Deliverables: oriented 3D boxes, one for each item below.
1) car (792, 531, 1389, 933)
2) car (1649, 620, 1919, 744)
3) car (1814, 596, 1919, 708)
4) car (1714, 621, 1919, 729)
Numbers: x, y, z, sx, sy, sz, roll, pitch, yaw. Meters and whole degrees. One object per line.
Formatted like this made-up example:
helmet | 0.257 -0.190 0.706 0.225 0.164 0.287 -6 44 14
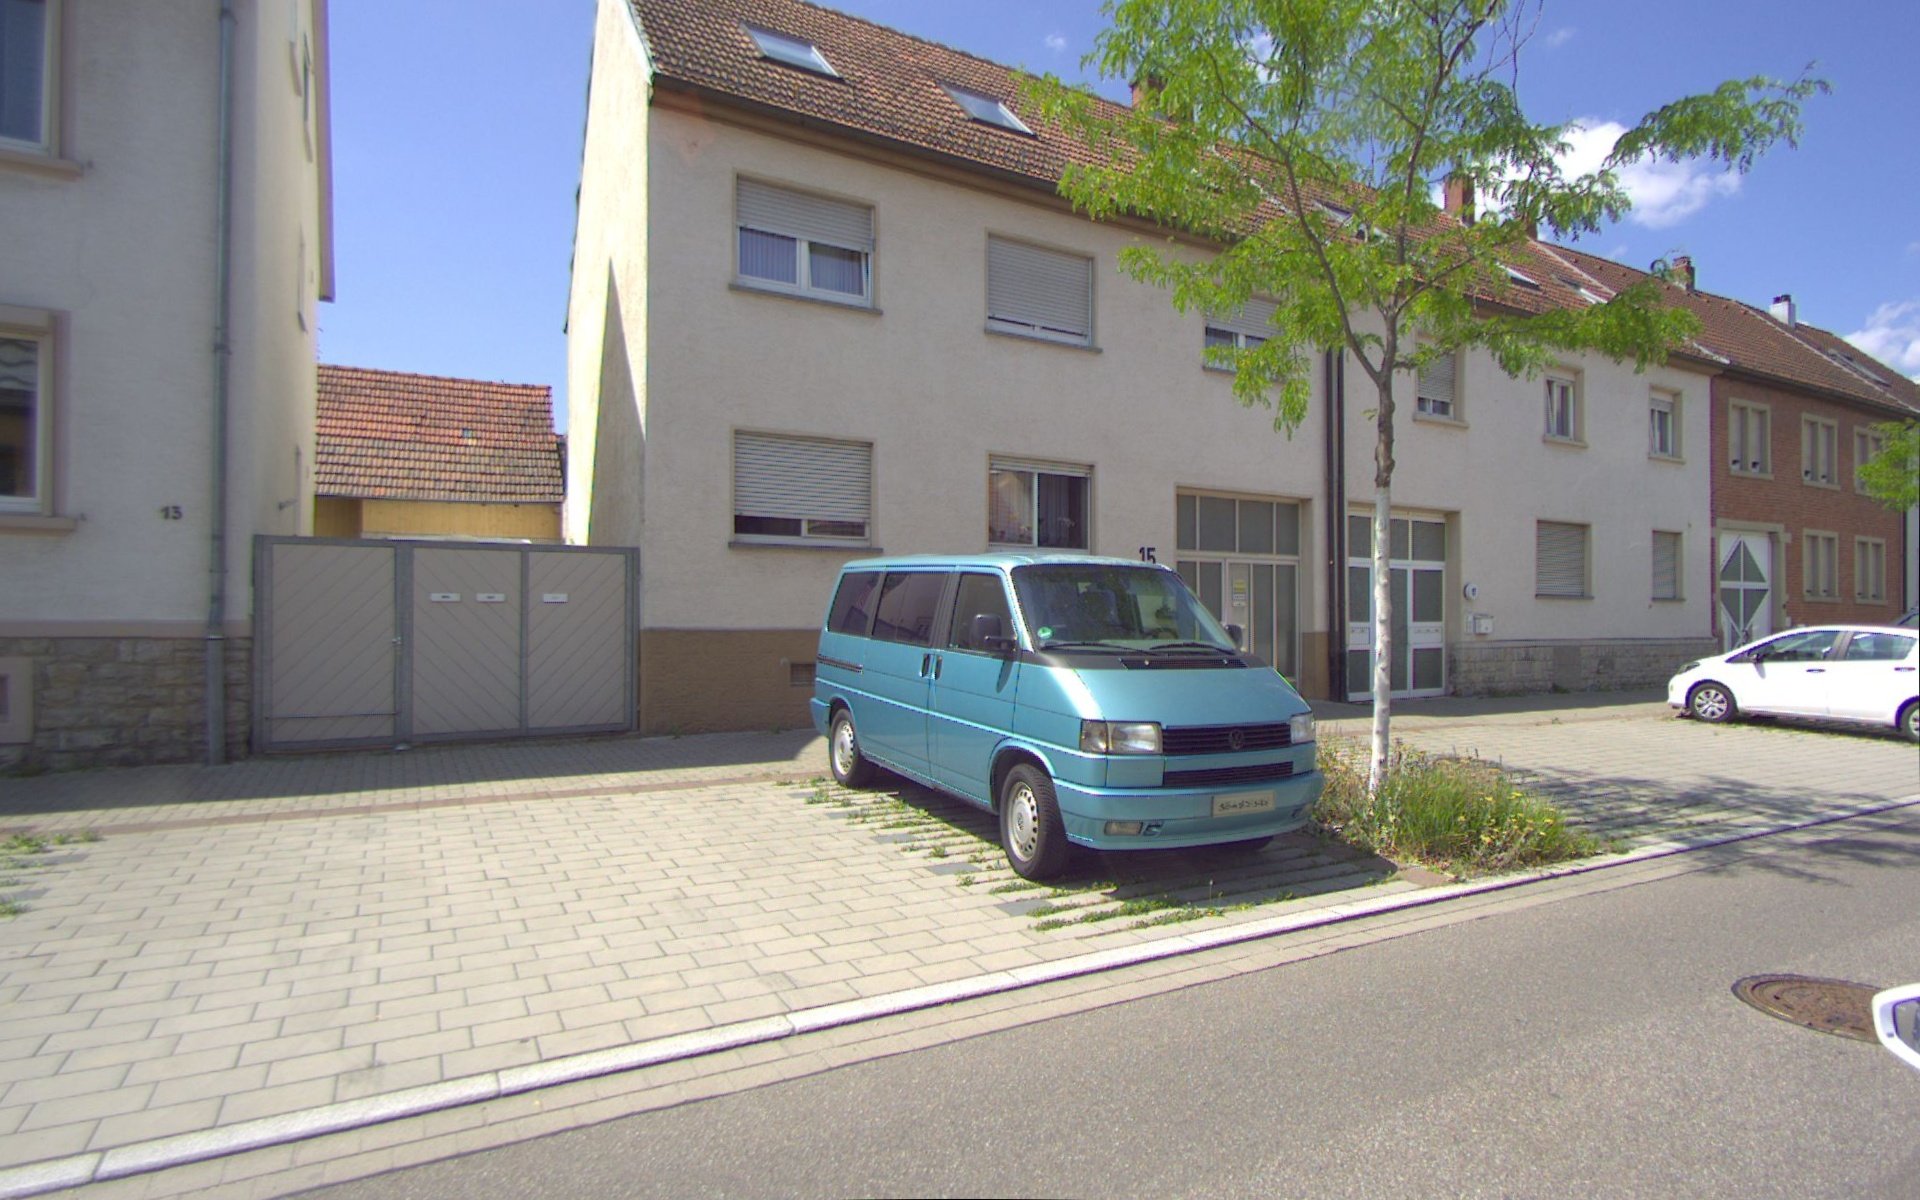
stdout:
car | 0.488 0.634 7.363 1.975 1.932 4.657 2 0 -28
car | 12.403 1.085 14.321 1.750 1.508 3.901 1 0 -27
car | 18.449 0.956 17.853 1.928 2.023 4.596 1 0 -27
car | 14.414 1.133 15.657 1.750 1.508 3.901 1 0 -27
